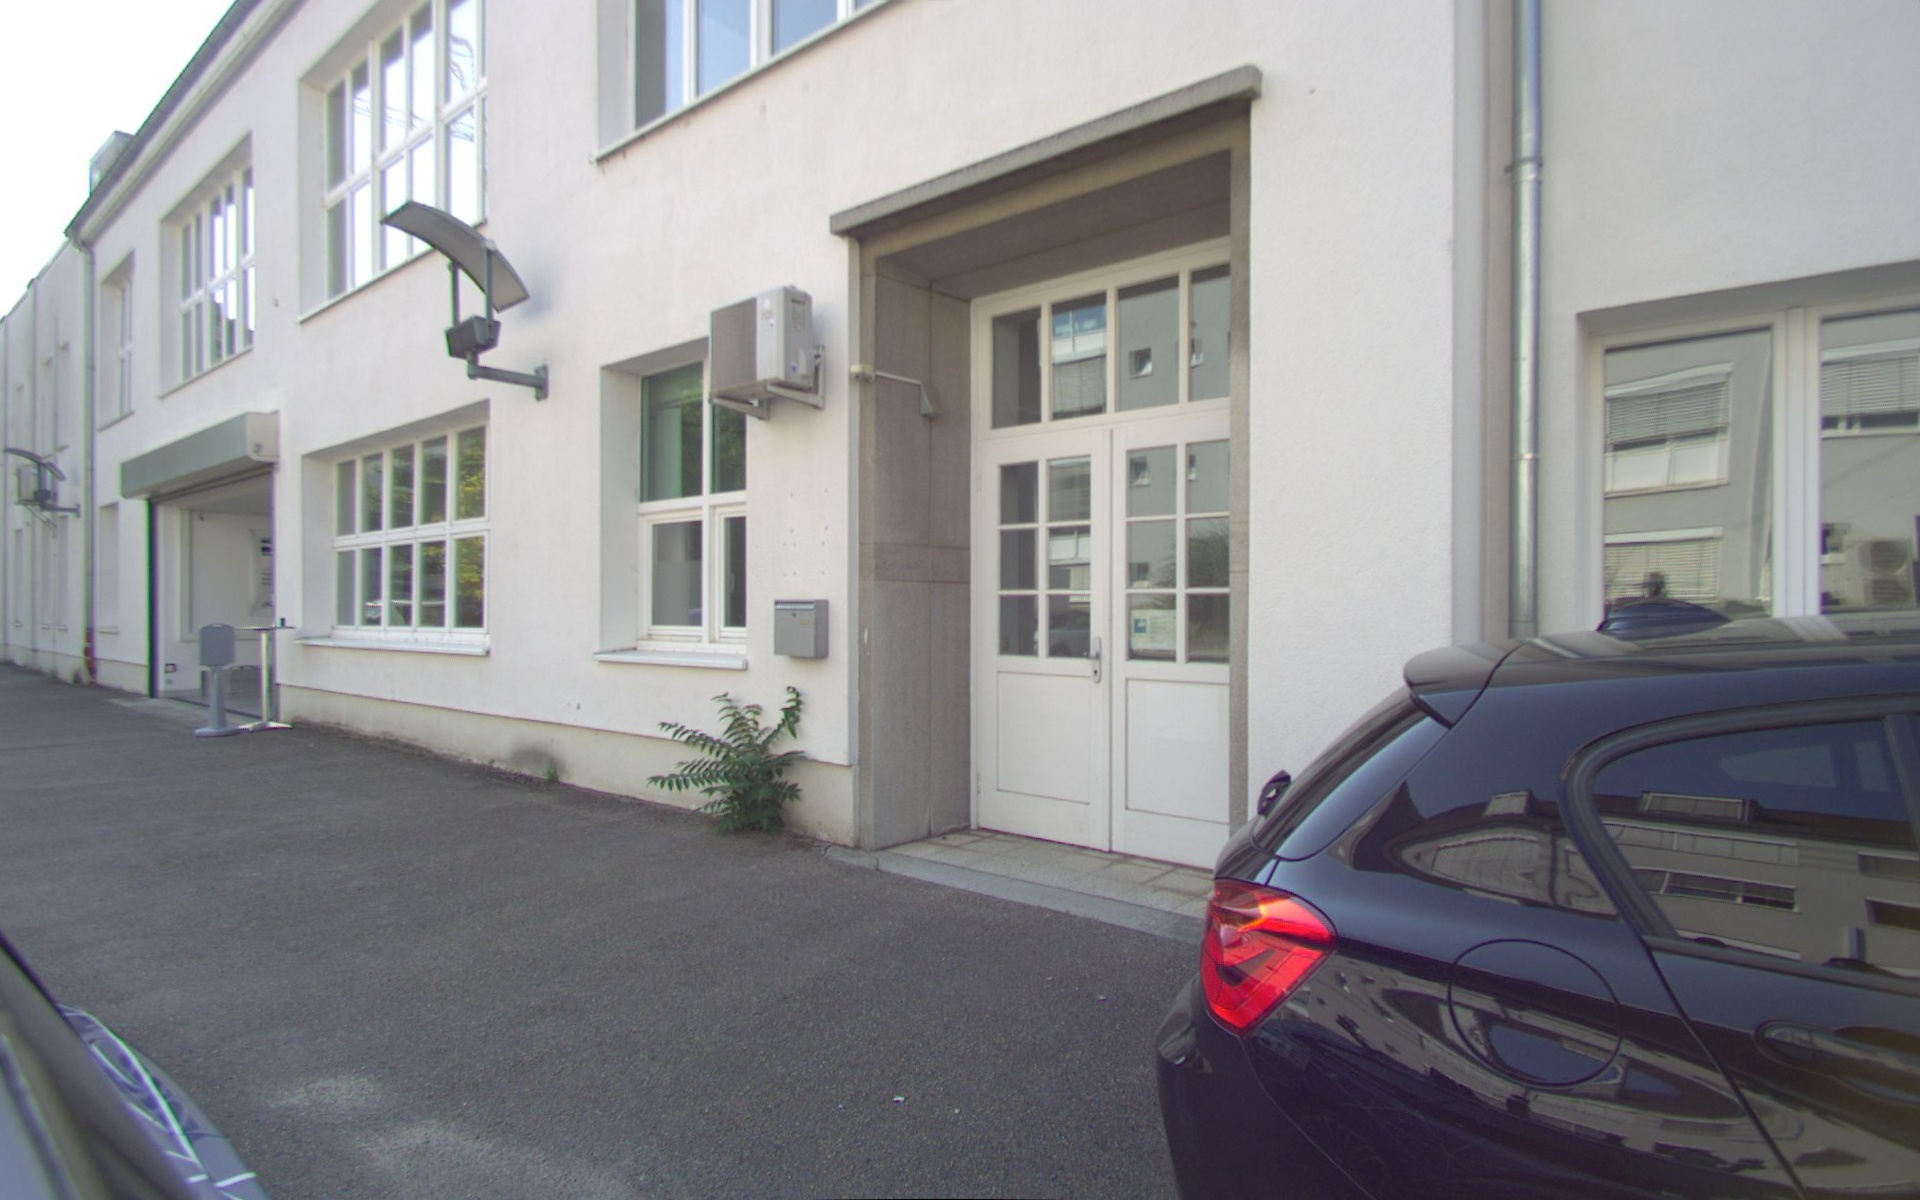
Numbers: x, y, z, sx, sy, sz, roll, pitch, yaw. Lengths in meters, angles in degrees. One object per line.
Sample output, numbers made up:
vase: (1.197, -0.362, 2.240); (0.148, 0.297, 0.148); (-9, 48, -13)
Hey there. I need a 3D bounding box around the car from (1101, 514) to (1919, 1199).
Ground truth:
car: (2.391, 0.616, 1.012); (4.130, 1.439, 1.776); (-1, 0, 38)
